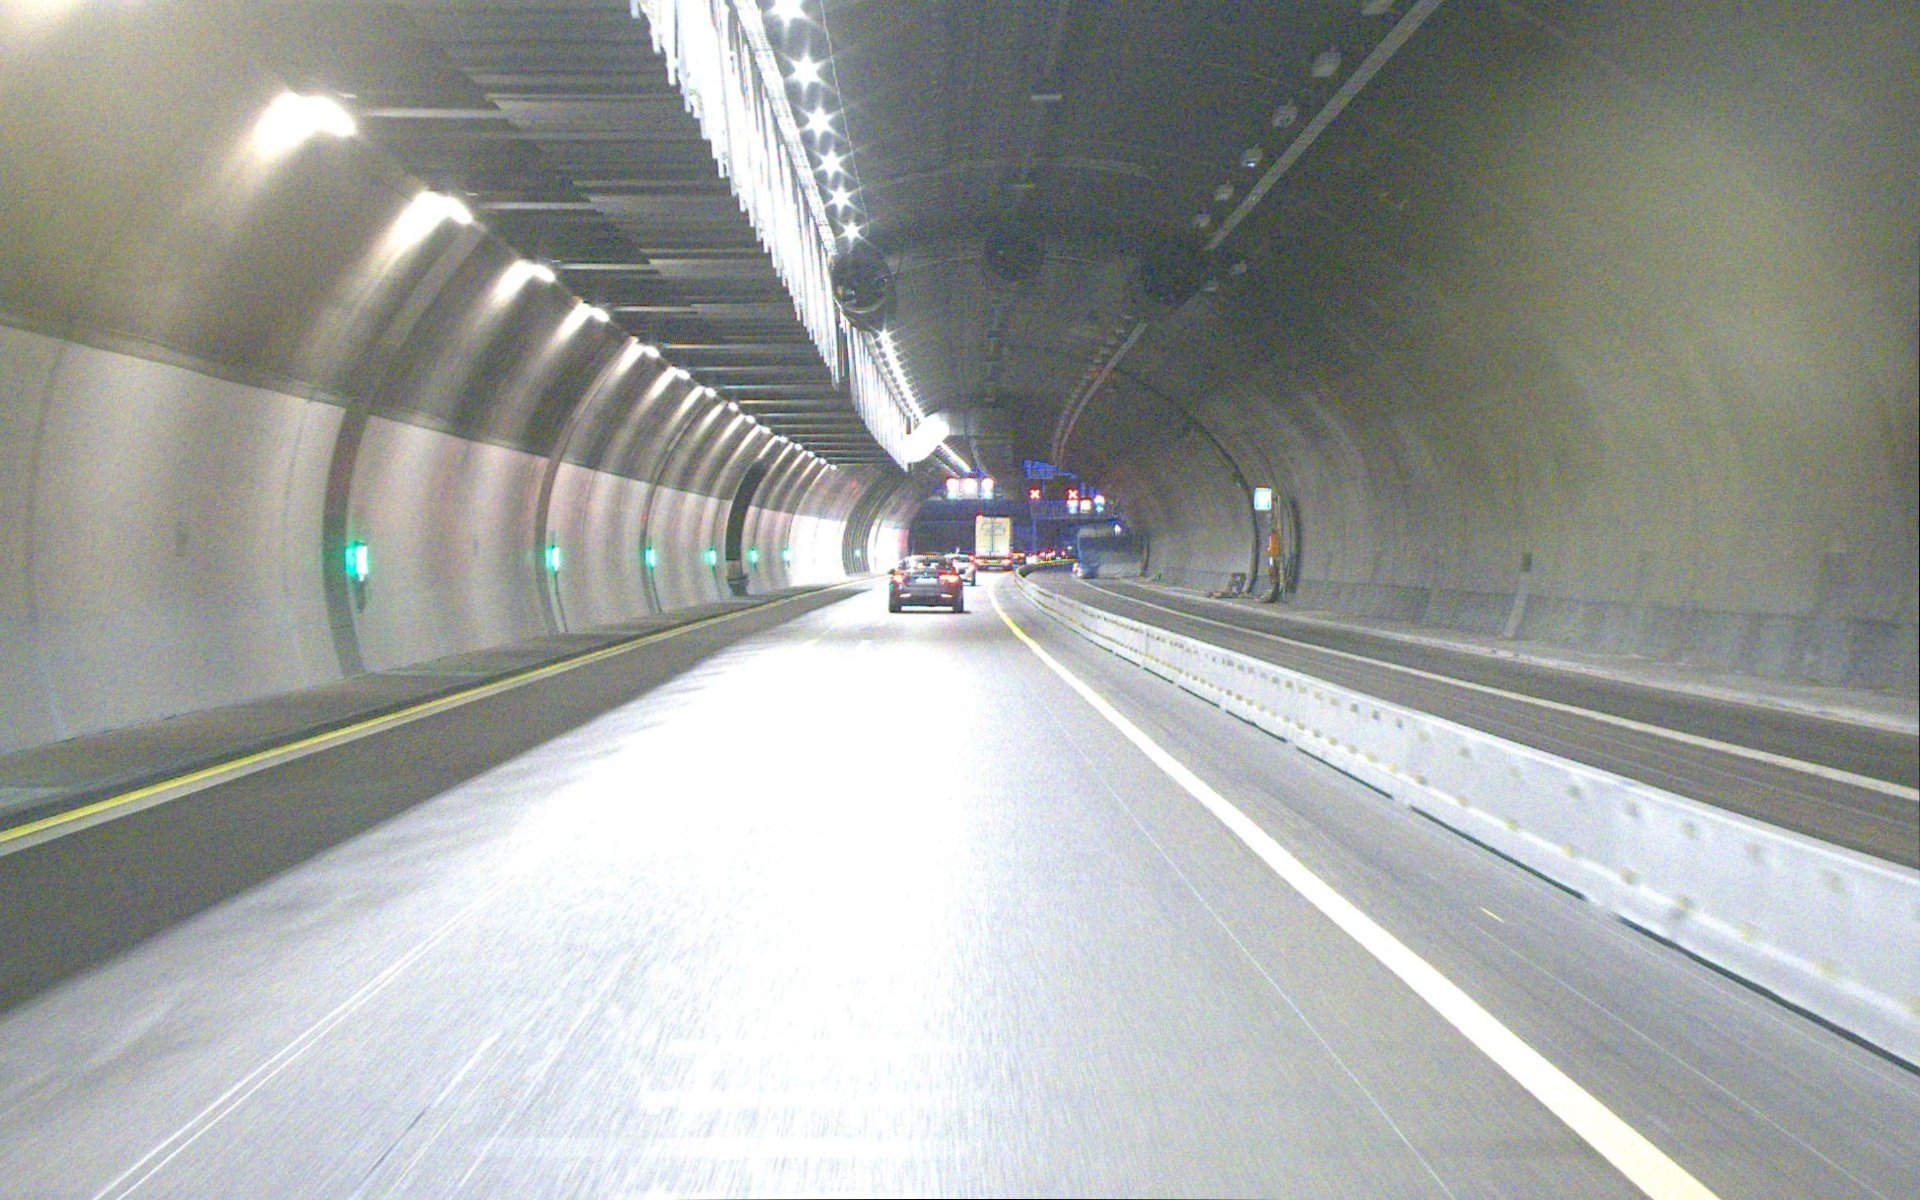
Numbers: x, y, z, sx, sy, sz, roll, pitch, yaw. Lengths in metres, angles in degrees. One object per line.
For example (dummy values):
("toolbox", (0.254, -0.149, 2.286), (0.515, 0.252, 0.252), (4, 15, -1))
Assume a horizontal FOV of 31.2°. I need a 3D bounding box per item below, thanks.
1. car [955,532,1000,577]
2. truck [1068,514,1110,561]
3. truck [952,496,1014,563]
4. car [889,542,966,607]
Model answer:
("car", (0.776, -2.084, 155.764), (1.993, 2.007, 4.000), (0, 1, -1))
("truck", (9.170, -4.447, 244.435), (2.892, 3.261, 8.401), (0, 1, 2))
("truck", (1.786, -5.320, 260.360), (4.546, 4.970, 9.599), (0, 1, 1))
("car", (-0.847, -0.645, 87.132), (1.887, 1.601, 4.000), (0, 1, -1))
